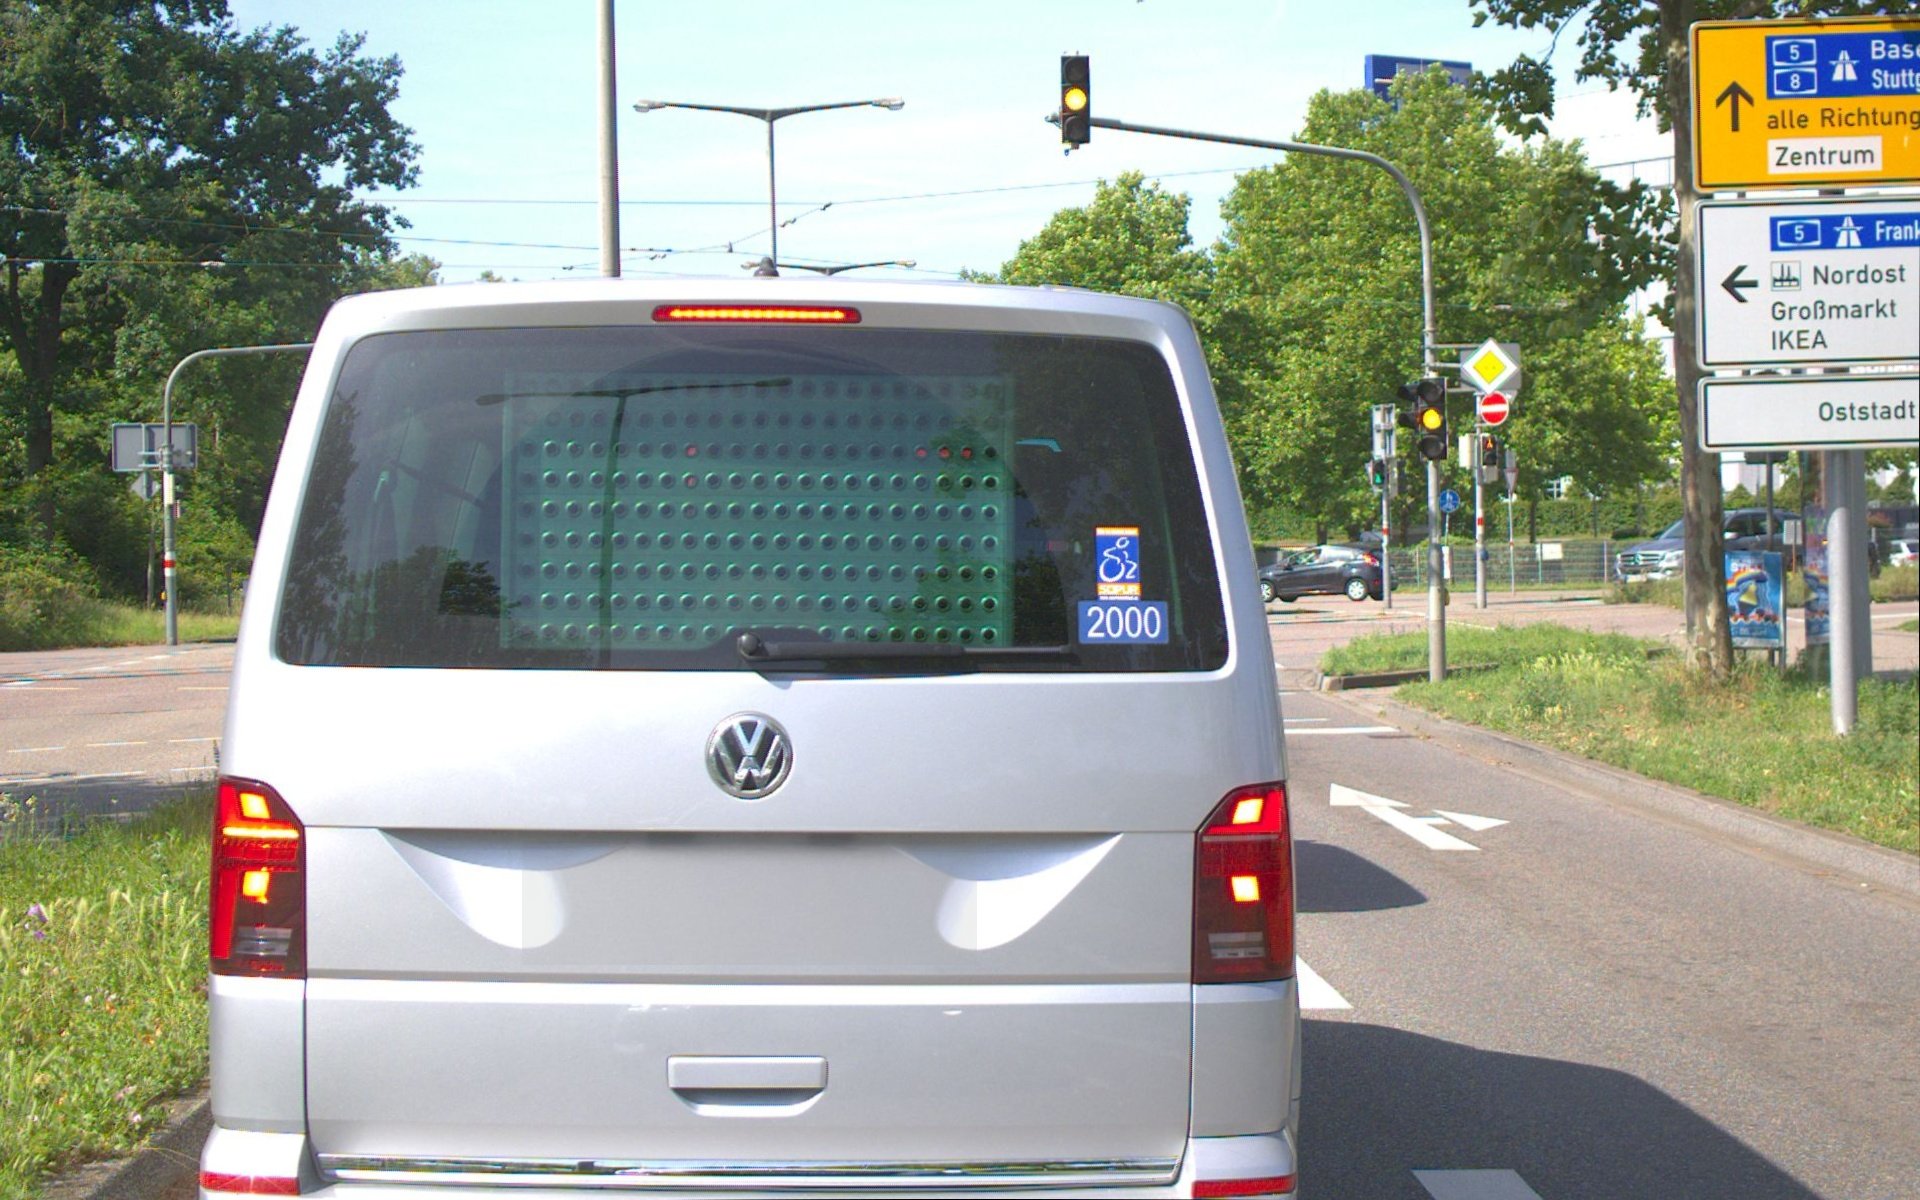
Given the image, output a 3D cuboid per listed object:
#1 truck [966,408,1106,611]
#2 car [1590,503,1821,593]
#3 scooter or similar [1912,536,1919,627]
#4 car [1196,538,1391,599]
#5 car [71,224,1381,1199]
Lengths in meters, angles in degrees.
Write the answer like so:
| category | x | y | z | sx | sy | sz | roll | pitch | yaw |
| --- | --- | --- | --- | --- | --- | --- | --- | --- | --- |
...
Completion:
| category | x | y | z | sx | sy | sz | roll | pitch | yaw |
| --- | --- | --- | --- | --- | --- | --- | --- | --- | --- |
| truck | 1.506 | -1.853 | 72.237 | 2.552 | 3.943 | 8.975 | -1 | 1 | -1 |
| car | 14.914 | -1.051 | 68.710 | 4.613 | 1.683 | 1.915 | -2 | 1 | -37 |
| scooter or similar | 12.133 | -0.225 | 42.399 | 0.424 | 1.122 | 1.124 | -1 | 1 | -1 |
| car | 8.447 | -0.787 | 87.322 | 4.620 | 1.439 | 1.778 | -1 | 1 | 34 |
| car | -0.373 | 0.391 | 7.649 | 1.941 | 1.965 | 5.022 | -1 | 1 | -1 |
